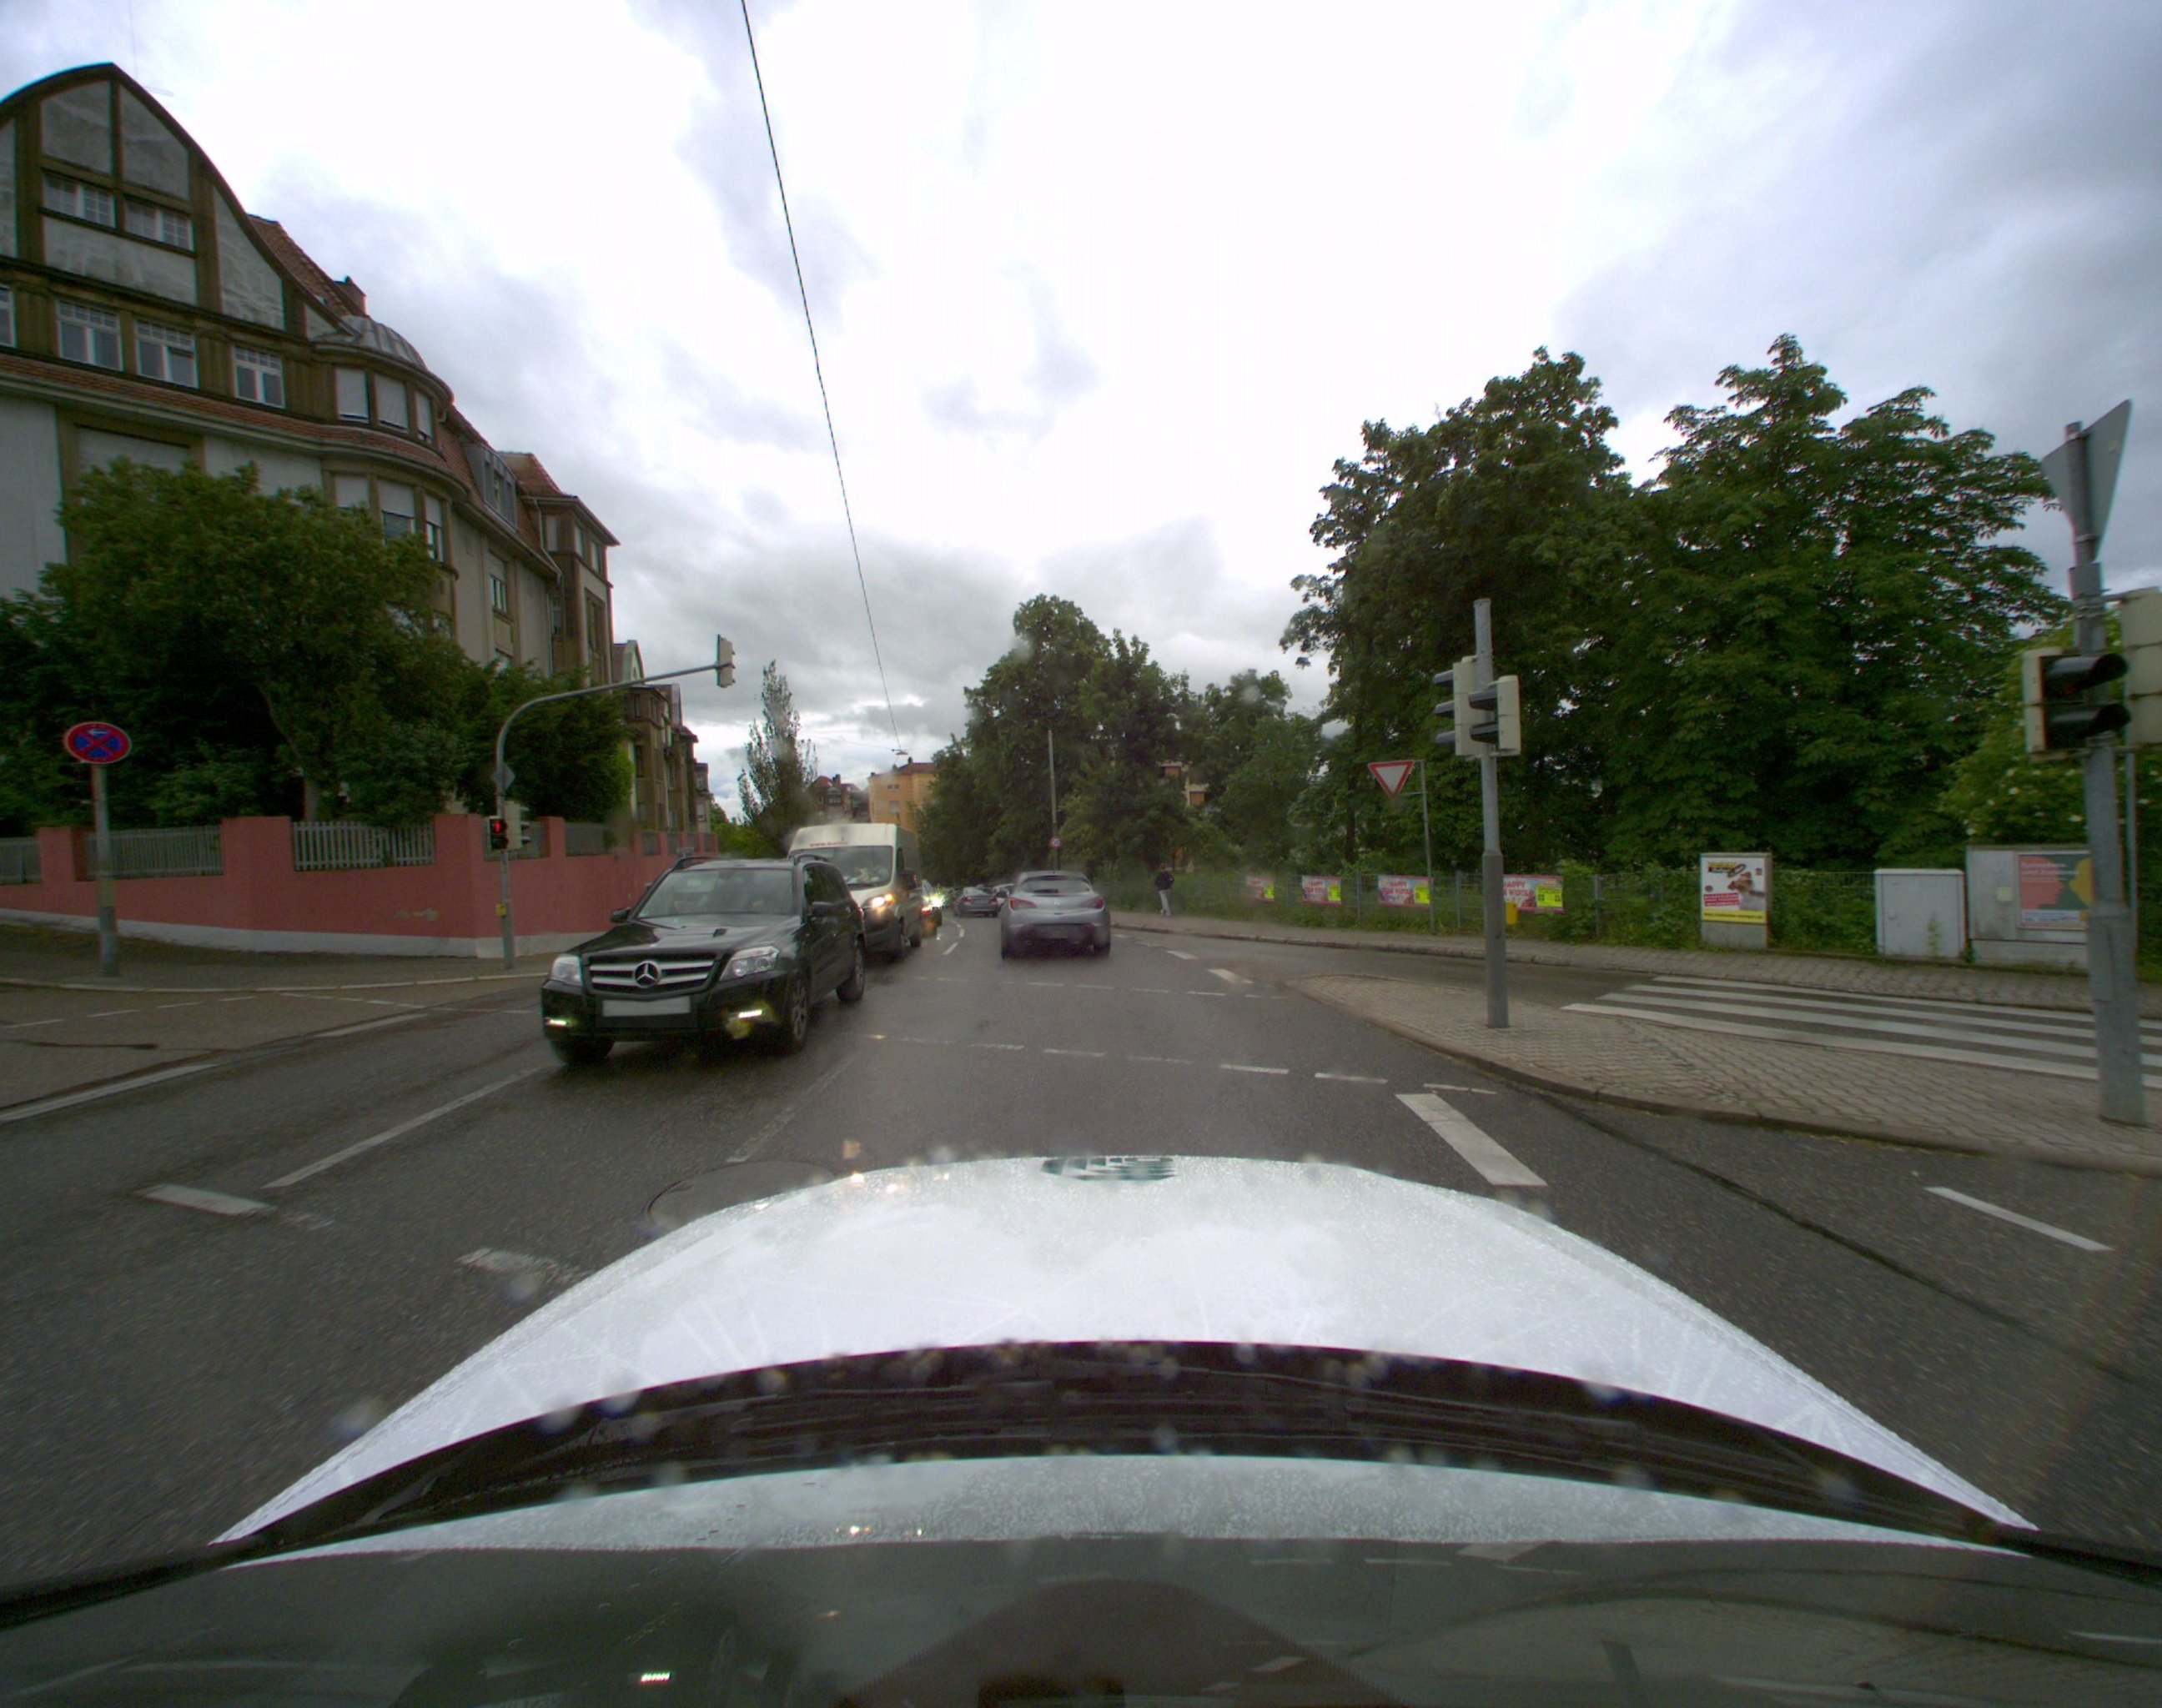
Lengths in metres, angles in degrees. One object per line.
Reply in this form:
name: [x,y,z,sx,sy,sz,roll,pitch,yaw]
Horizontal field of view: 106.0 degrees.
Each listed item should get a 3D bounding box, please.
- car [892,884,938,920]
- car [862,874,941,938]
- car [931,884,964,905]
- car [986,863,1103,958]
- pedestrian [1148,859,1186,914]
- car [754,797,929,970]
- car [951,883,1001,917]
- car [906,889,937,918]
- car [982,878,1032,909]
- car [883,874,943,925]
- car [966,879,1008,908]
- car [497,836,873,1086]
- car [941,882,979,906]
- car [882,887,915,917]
car: [-7.511,2.134,36.530,1.777,1.497,4.240,-1,-3,-15]
car: [-4.770,1.348,21.891,1.816,1.430,3.984,-3,-2,-11]
car: [-11.196,3.418,67.967,1.982,1.452,4.086,-5,-2,-19]
car: [-0.713,0.924,14.890,1.811,1.430,3.994,-2,-1,-4]
pedestrian: [2.660,1.019,25.276,0.766,1.605,0.961,-5,-2,-13]
car: [-4.188,0.532,15.252,2.115,2.546,5.525,-3,-2,-7]
car: [-4.891,2.127,37.697,1.779,1.430,3.765,-2,-3,-15]
car: [-8.558,2.610,43.608,1.385,1.412,3.438,-2,-2,-14]
car: [-4.363,2.313,47.287,1.821,1.495,3.973,-8,-1,-19]
car: [-6.107,1.604,29.225,1.878,1.575,4.563,-2,-2,-14]
car: [-6.164,2.562,53.039,1.826,1.683,4.775,-5,-1,-17]
car: [-3.277,0.760,7.804,1.819,1.652,4.336,-1,-1,-6]
car: [-9.331,3.092,62.476,1.983,1.609,4.454,-5,-2,-20]
car: [-10.446,2.708,46.486,1.657,1.568,3.979,-2,-2,-14]
